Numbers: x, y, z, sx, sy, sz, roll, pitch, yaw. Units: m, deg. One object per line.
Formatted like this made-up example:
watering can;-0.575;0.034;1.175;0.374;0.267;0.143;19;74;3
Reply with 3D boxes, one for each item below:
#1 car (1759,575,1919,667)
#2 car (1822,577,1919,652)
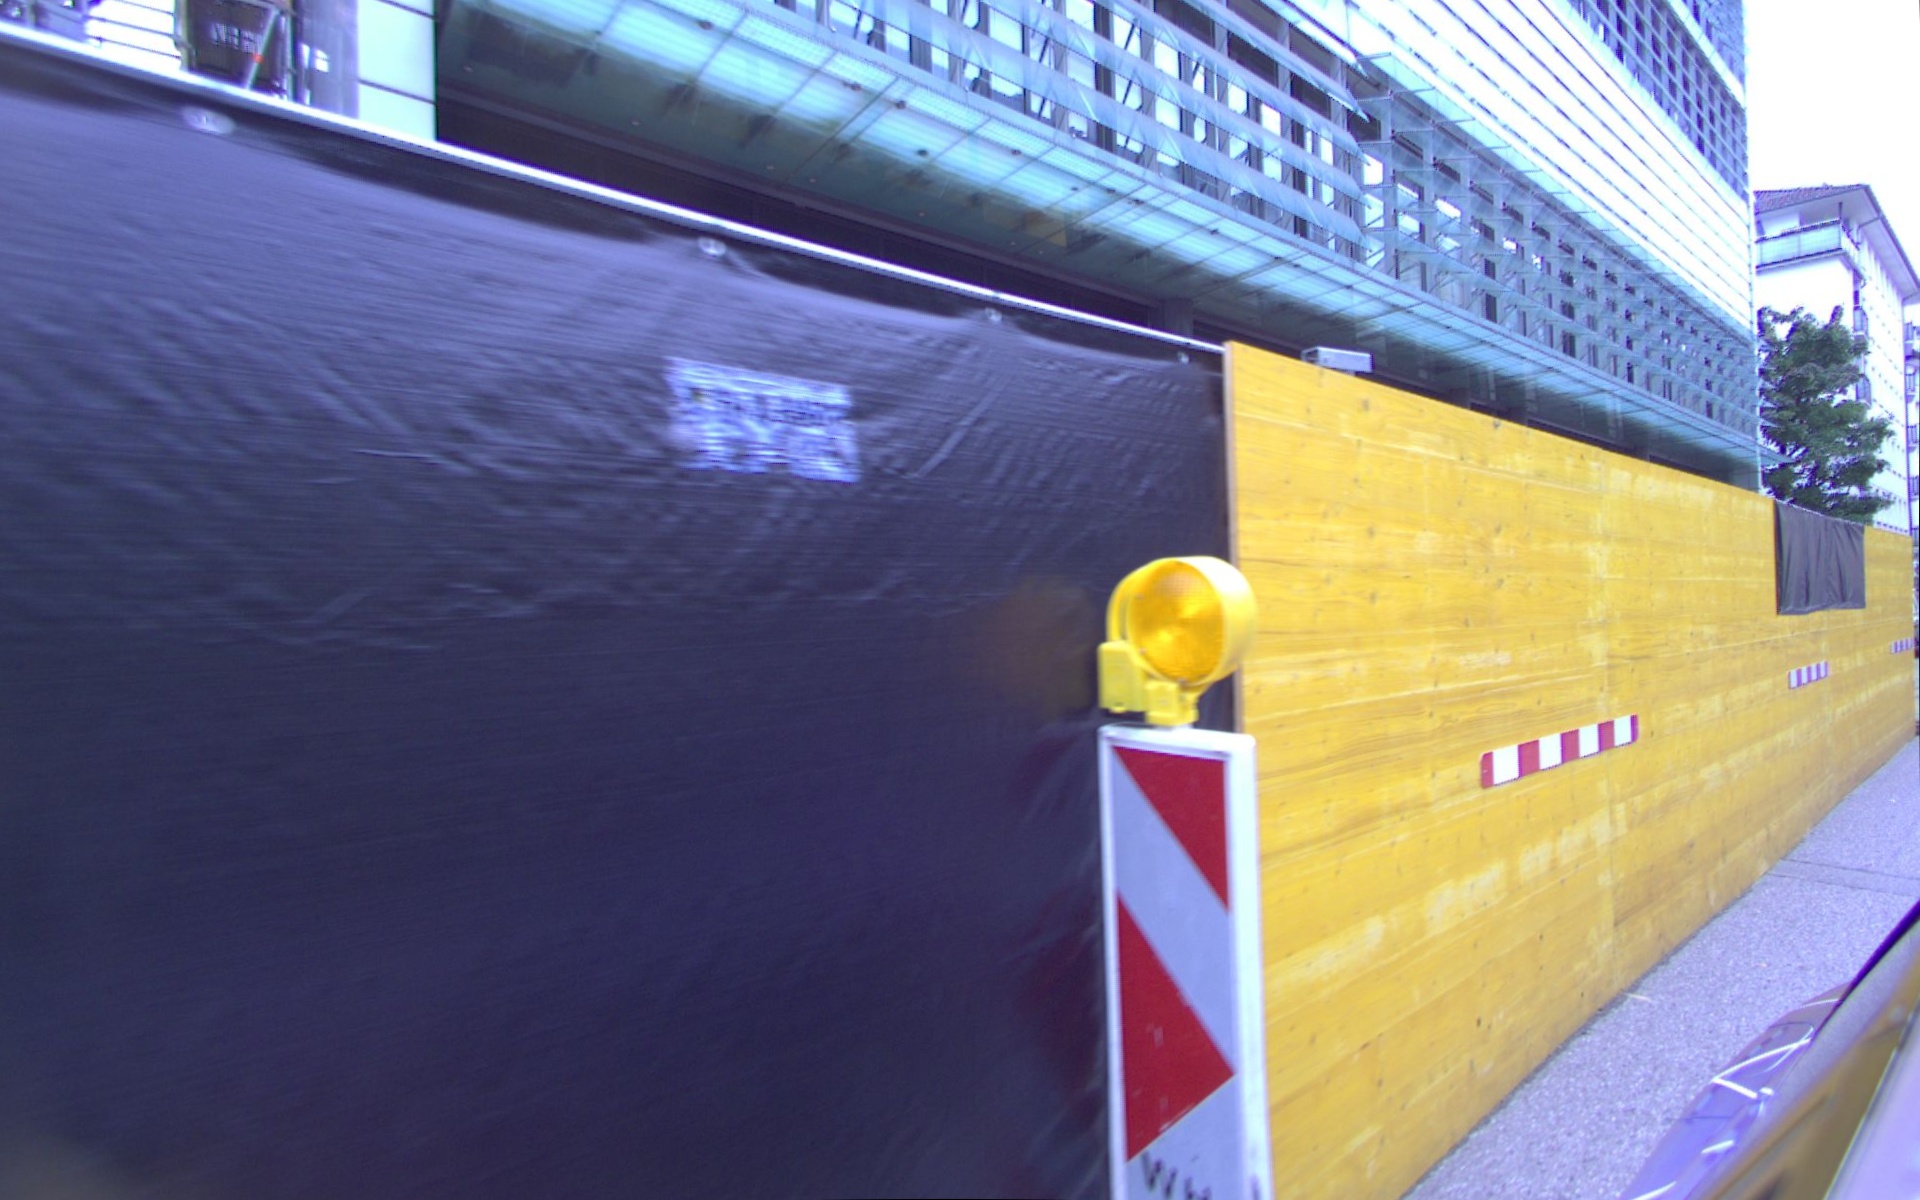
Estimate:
car;16.563;0.355;18.889;4.208;1.506;1.994;-1;-2;-44
car;20.443;0.264;22.193;4.207;1.504;1.873;-1;-1;-43
